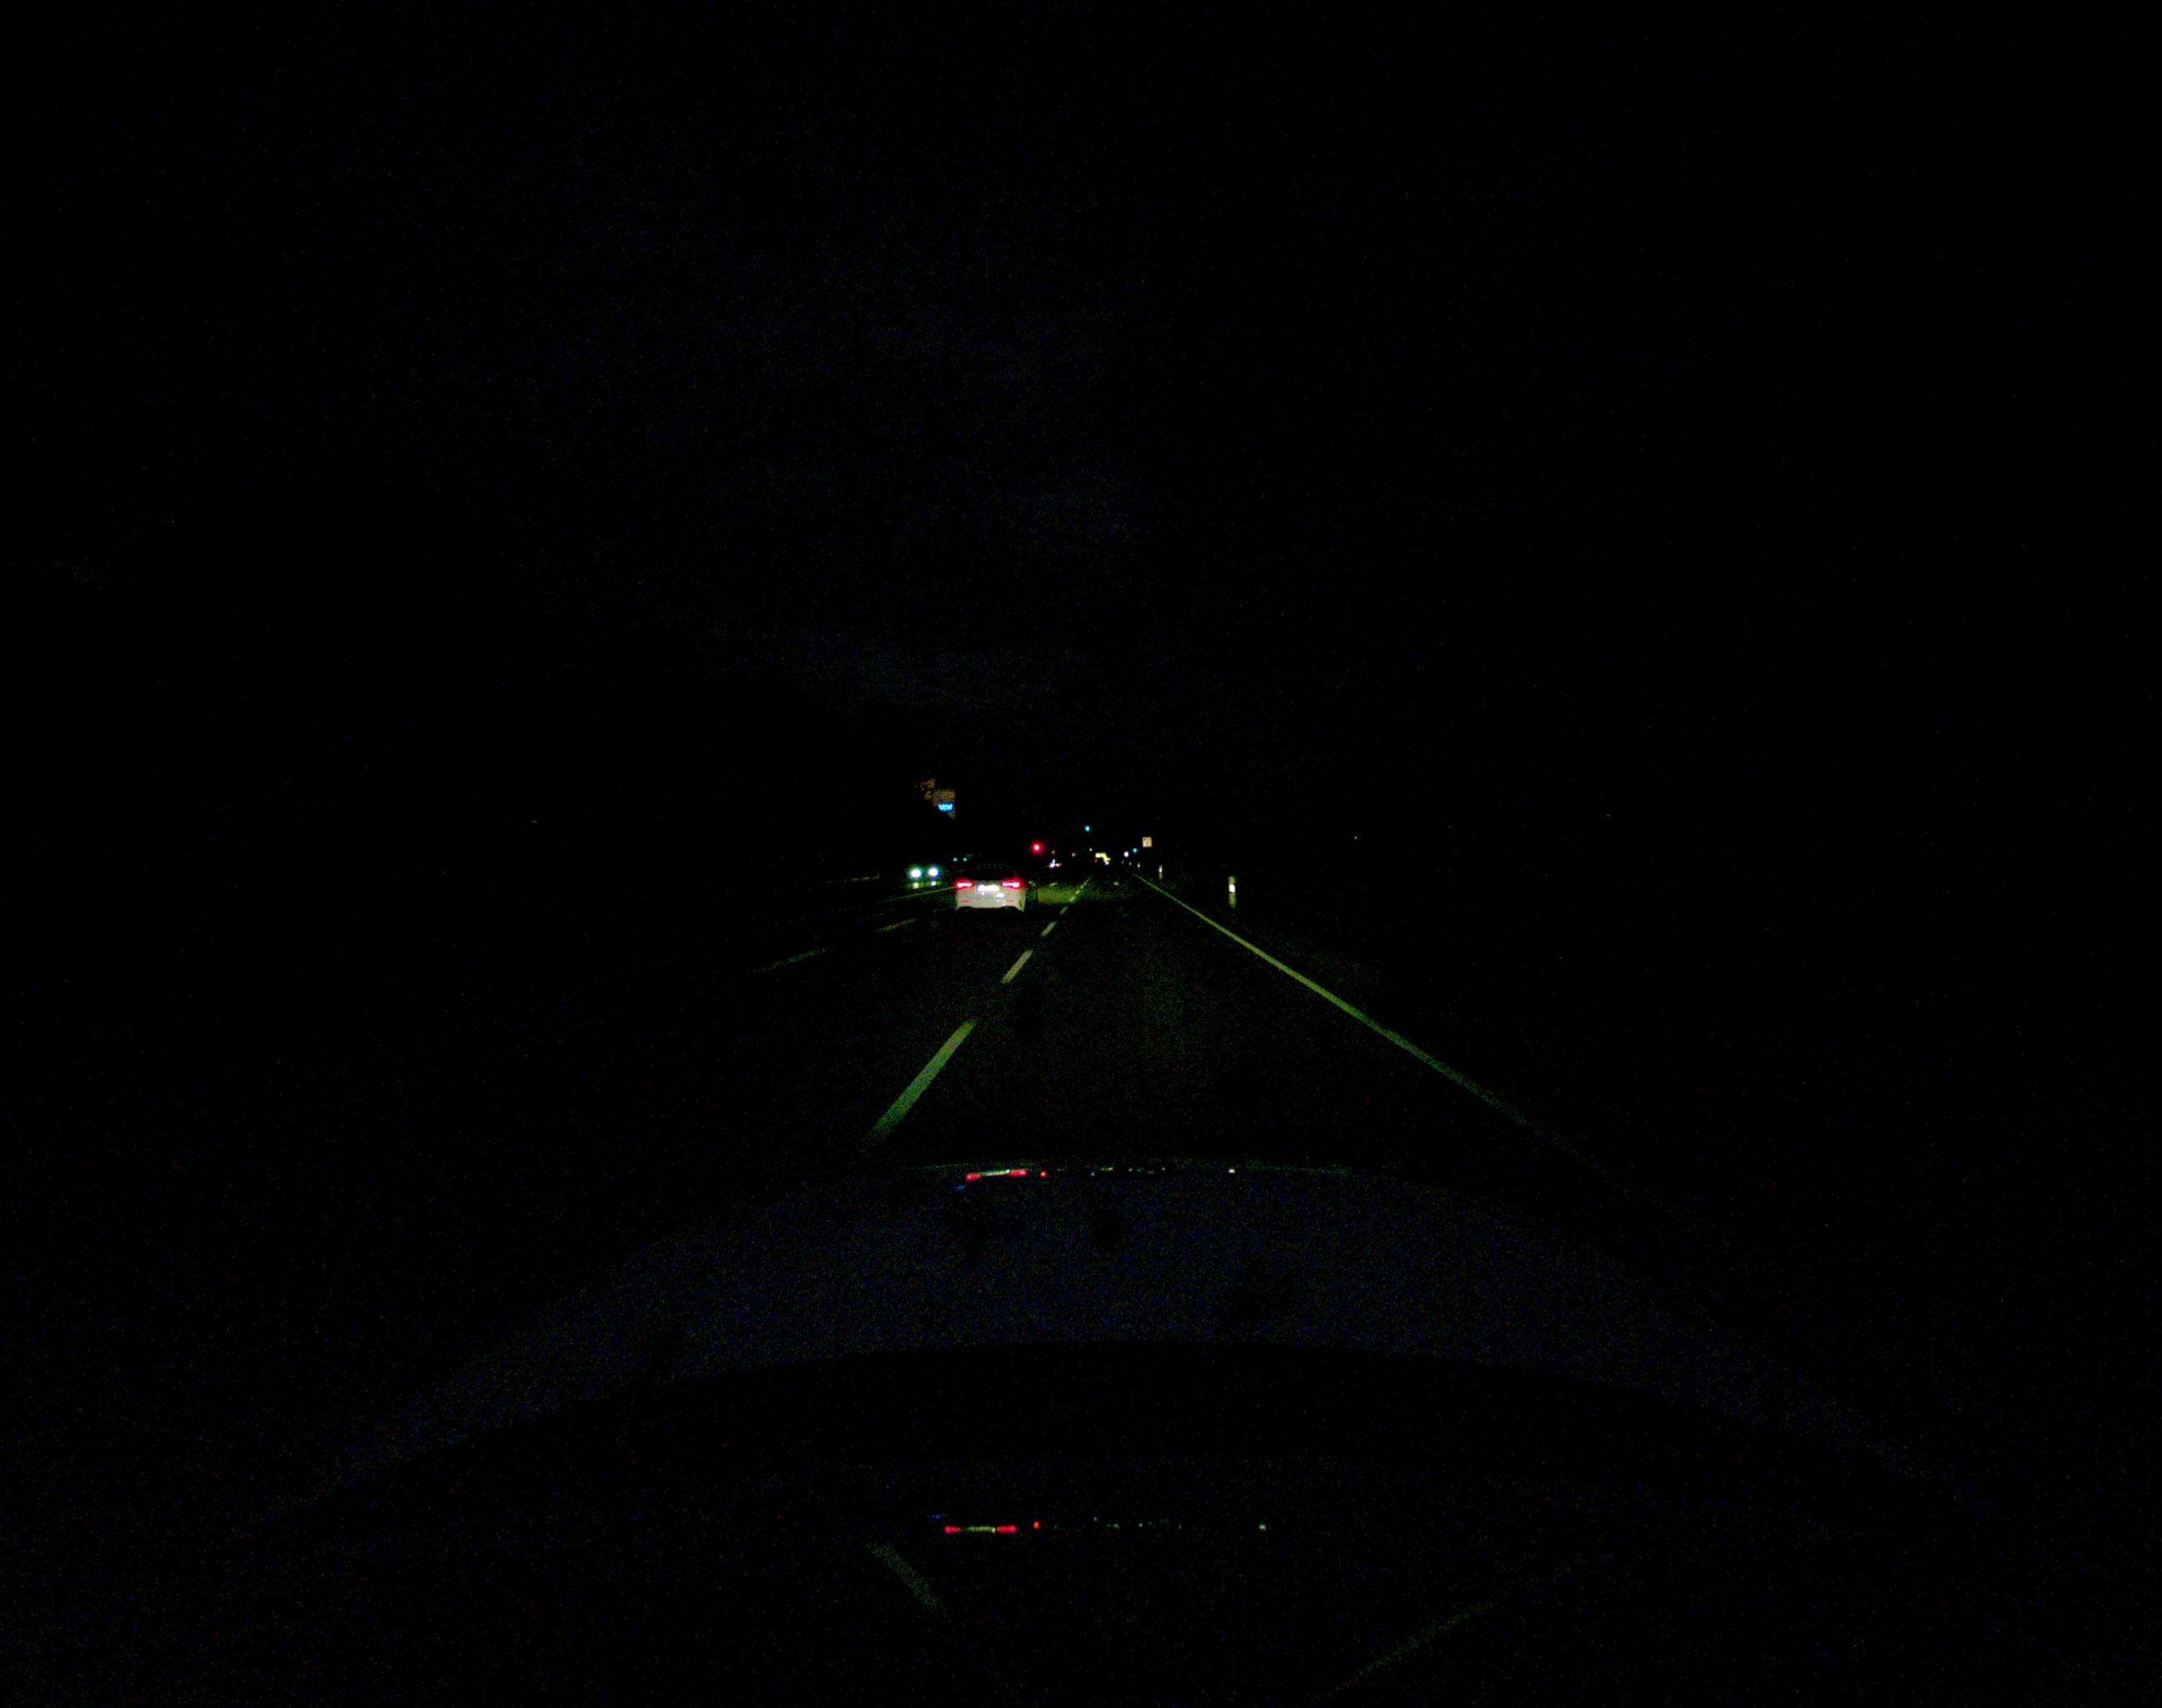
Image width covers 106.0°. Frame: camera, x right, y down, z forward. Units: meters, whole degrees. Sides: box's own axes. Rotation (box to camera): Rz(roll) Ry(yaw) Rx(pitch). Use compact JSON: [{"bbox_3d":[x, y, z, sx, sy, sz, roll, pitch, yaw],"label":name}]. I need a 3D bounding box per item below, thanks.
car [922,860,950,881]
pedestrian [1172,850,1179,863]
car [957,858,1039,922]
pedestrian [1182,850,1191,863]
[{"bbox_3d":[-12.749,1.441,71.700,1.607,1.723,4.316,-1,0,1],"label":"car"},{"bbox_3d":[13.283,0.304,114.462,0.918,1.793,1.106,-1,0,1],"label":"pedestrian"},{"bbox_3d":[-2.084,0.868,21.643,1.636,1.490,4.580,-1,0,1],"label":"car"},{"bbox_3d":[14.849,0.332,114.230,1.087,1.723,1.260,-1,-1,1],"label":"pedestrian"}]
